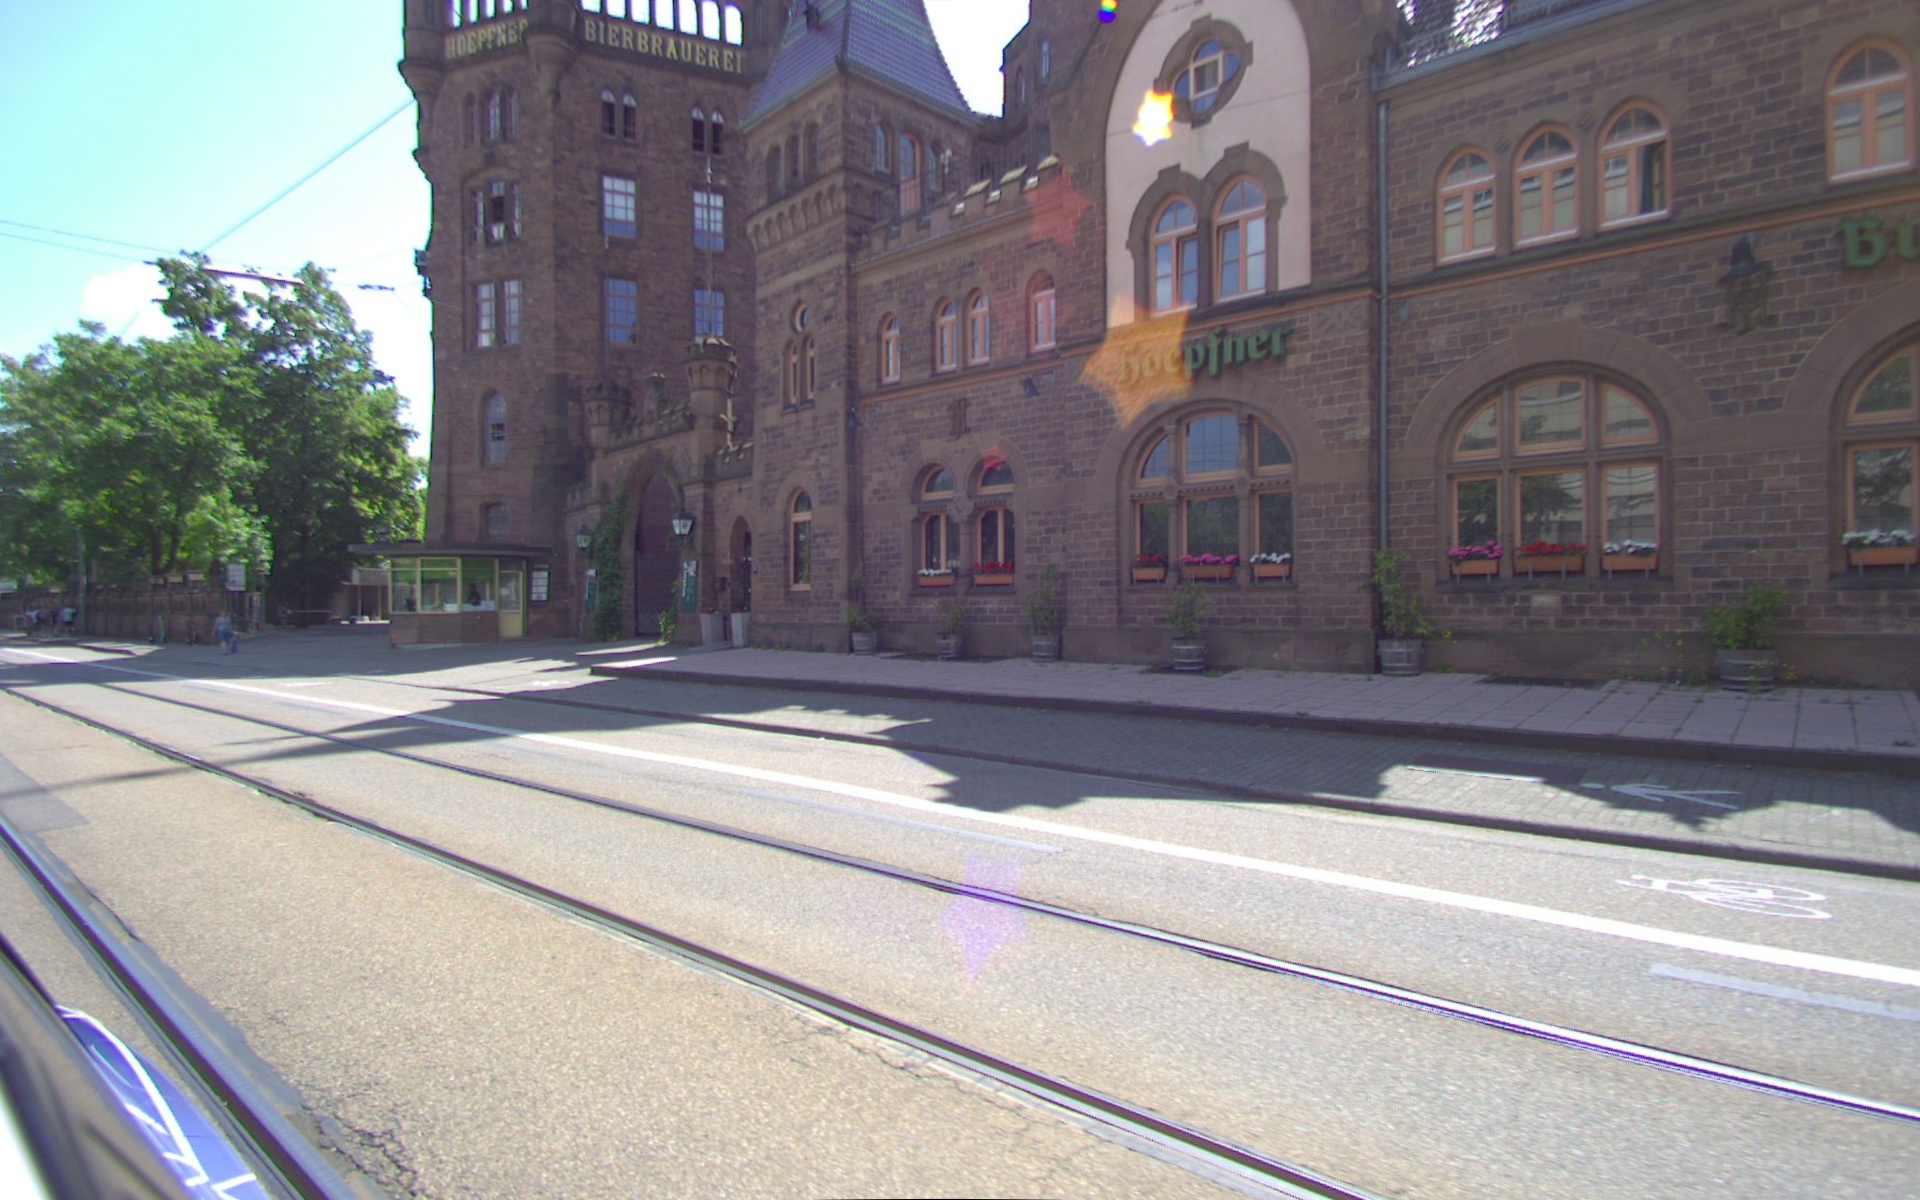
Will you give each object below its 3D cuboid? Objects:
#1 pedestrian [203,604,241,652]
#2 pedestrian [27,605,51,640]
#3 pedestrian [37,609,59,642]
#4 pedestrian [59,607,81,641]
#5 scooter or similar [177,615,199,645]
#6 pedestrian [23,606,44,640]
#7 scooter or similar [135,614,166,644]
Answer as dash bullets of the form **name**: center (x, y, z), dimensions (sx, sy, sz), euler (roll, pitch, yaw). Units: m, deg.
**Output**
- **pedestrian**: center (-25.648, 0.977, 35.178), dimensions (0.919, 1.600, 0.791), euler (-1, 2, 41)
- **pedestrian**: center (-48.254, 1.173, 53.025), dimensions (0.919, 1.805, 0.714), euler (-1, 2, 41)
- **pedestrian**: center (-49.709, 1.392, 55.164), dimensions (0.919, 1.761, 0.670), euler (-1, 2, 41)
- **pedestrian**: center (-49.038, 1.301, 55.759), dimensions (0.919, 1.789, 0.745), euler (-1, 2, 41)
- **scooter or similar**: center (-30.198, 1.157, 39.590), dimensions (0.324, 1.135, 1.227), euler (-2, 1, -21)
- **pedestrian**: center (-51.377, 1.271, 56.130), dimensions (0.919, 1.803, 0.670), euler (-1, 2, 41)
- **scooter or similar**: center (-33.139, 1.193, 41.464), dimensions (0.343, 1.135, 1.227), euler (-1, 2, -6)
